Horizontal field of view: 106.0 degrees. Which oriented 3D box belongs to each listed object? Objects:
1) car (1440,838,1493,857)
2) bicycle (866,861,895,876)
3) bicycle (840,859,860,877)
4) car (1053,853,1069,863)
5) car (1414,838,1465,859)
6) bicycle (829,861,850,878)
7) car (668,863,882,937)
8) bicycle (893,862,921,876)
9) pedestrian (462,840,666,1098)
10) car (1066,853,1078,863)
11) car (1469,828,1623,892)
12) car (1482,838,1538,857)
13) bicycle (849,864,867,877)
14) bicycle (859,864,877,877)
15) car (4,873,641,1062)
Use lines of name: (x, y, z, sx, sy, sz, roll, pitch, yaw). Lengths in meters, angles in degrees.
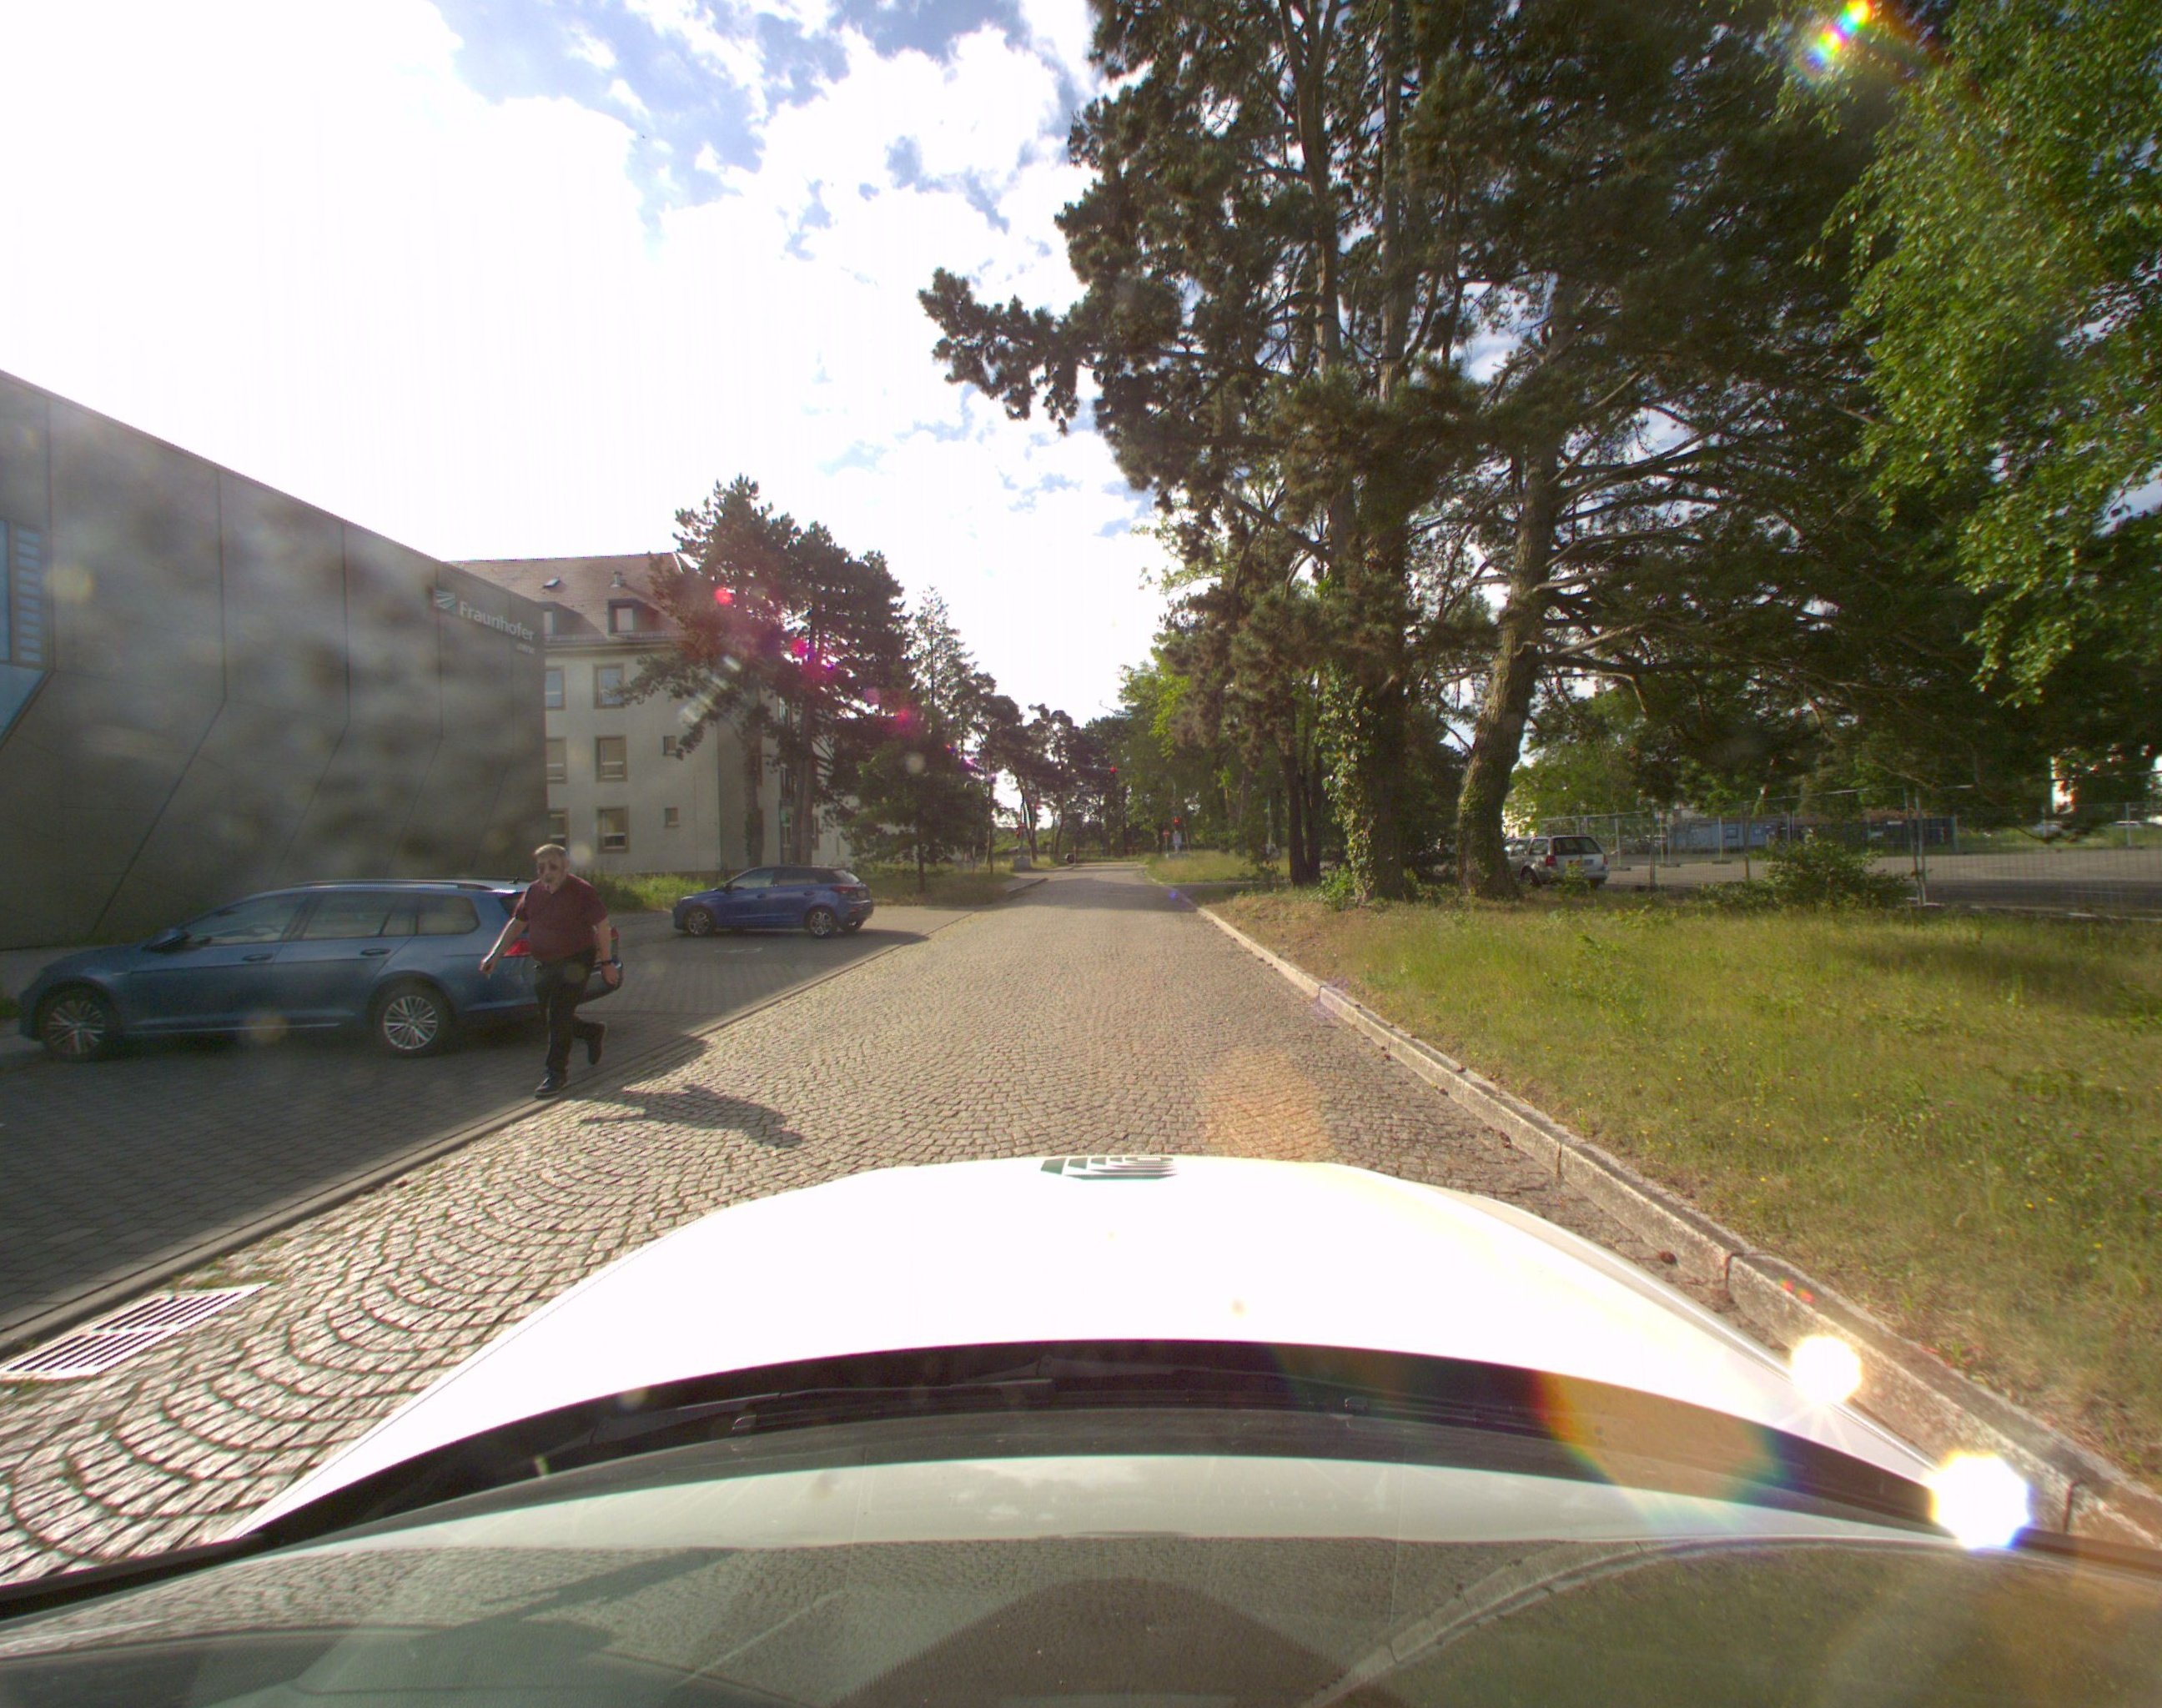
car: (28.040, -0.453, 59.393, 1.726, 1.312, 4.329, 0, 0, -2)
bicycle: (-16.228, 1.201, 66.053, 2.111, 1.108, 0.828, -2, 0, -2)
bicycle: (-19.193, 1.153, 67.675, 0.823, 1.437, 2.555, -2, 0, 2)
car: (-3.159, 0.654, 128.087, 1.772, 1.490, 3.765, -2, 0, 9)
car: (25.971, -0.384, 59.119, 1.726, 1.476, 4.329, -2, 0, -1)
bicycle: (-19.973, 1.253, 67.392, 0.823, 1.281, 2.555, -2, 0, 2)
car: (-6.349, 0.936, 17.151, 3.819, 1.464, 1.721, 0, 0, 3)
bicycle: (-14.105, 1.176, 66.096, 2.111, 1.047, 0.828, -2, 0, -2)
pedestrian: (-3.916, 0.802, 6.287, 0.802, 1.771, 1.152, -2, 0, -2)
car: (-1.345, 0.618, 123.296, 1.839, 1.486, 3.999, -2, 0, 0)
car: (12.092, 0.148, 21.492, 1.663, 1.467, 3.998, -2, 0, -1)
car: (31.331, -0.470, 59.573, 1.726, 1.312, 4.329, -2, 0, -1)
bicycle: (-18.411, 1.353, 67.314, 0.823, 1.047, 2.125, -2, 0, 2)
bicycle: (-17.629, 1.345, 67.338, 0.823, 1.047, 2.125, -2, 0, 2)
car: (-6.691, 0.953, 7.564, 4.243, 1.464, 1.680, 0, 2, -1)
